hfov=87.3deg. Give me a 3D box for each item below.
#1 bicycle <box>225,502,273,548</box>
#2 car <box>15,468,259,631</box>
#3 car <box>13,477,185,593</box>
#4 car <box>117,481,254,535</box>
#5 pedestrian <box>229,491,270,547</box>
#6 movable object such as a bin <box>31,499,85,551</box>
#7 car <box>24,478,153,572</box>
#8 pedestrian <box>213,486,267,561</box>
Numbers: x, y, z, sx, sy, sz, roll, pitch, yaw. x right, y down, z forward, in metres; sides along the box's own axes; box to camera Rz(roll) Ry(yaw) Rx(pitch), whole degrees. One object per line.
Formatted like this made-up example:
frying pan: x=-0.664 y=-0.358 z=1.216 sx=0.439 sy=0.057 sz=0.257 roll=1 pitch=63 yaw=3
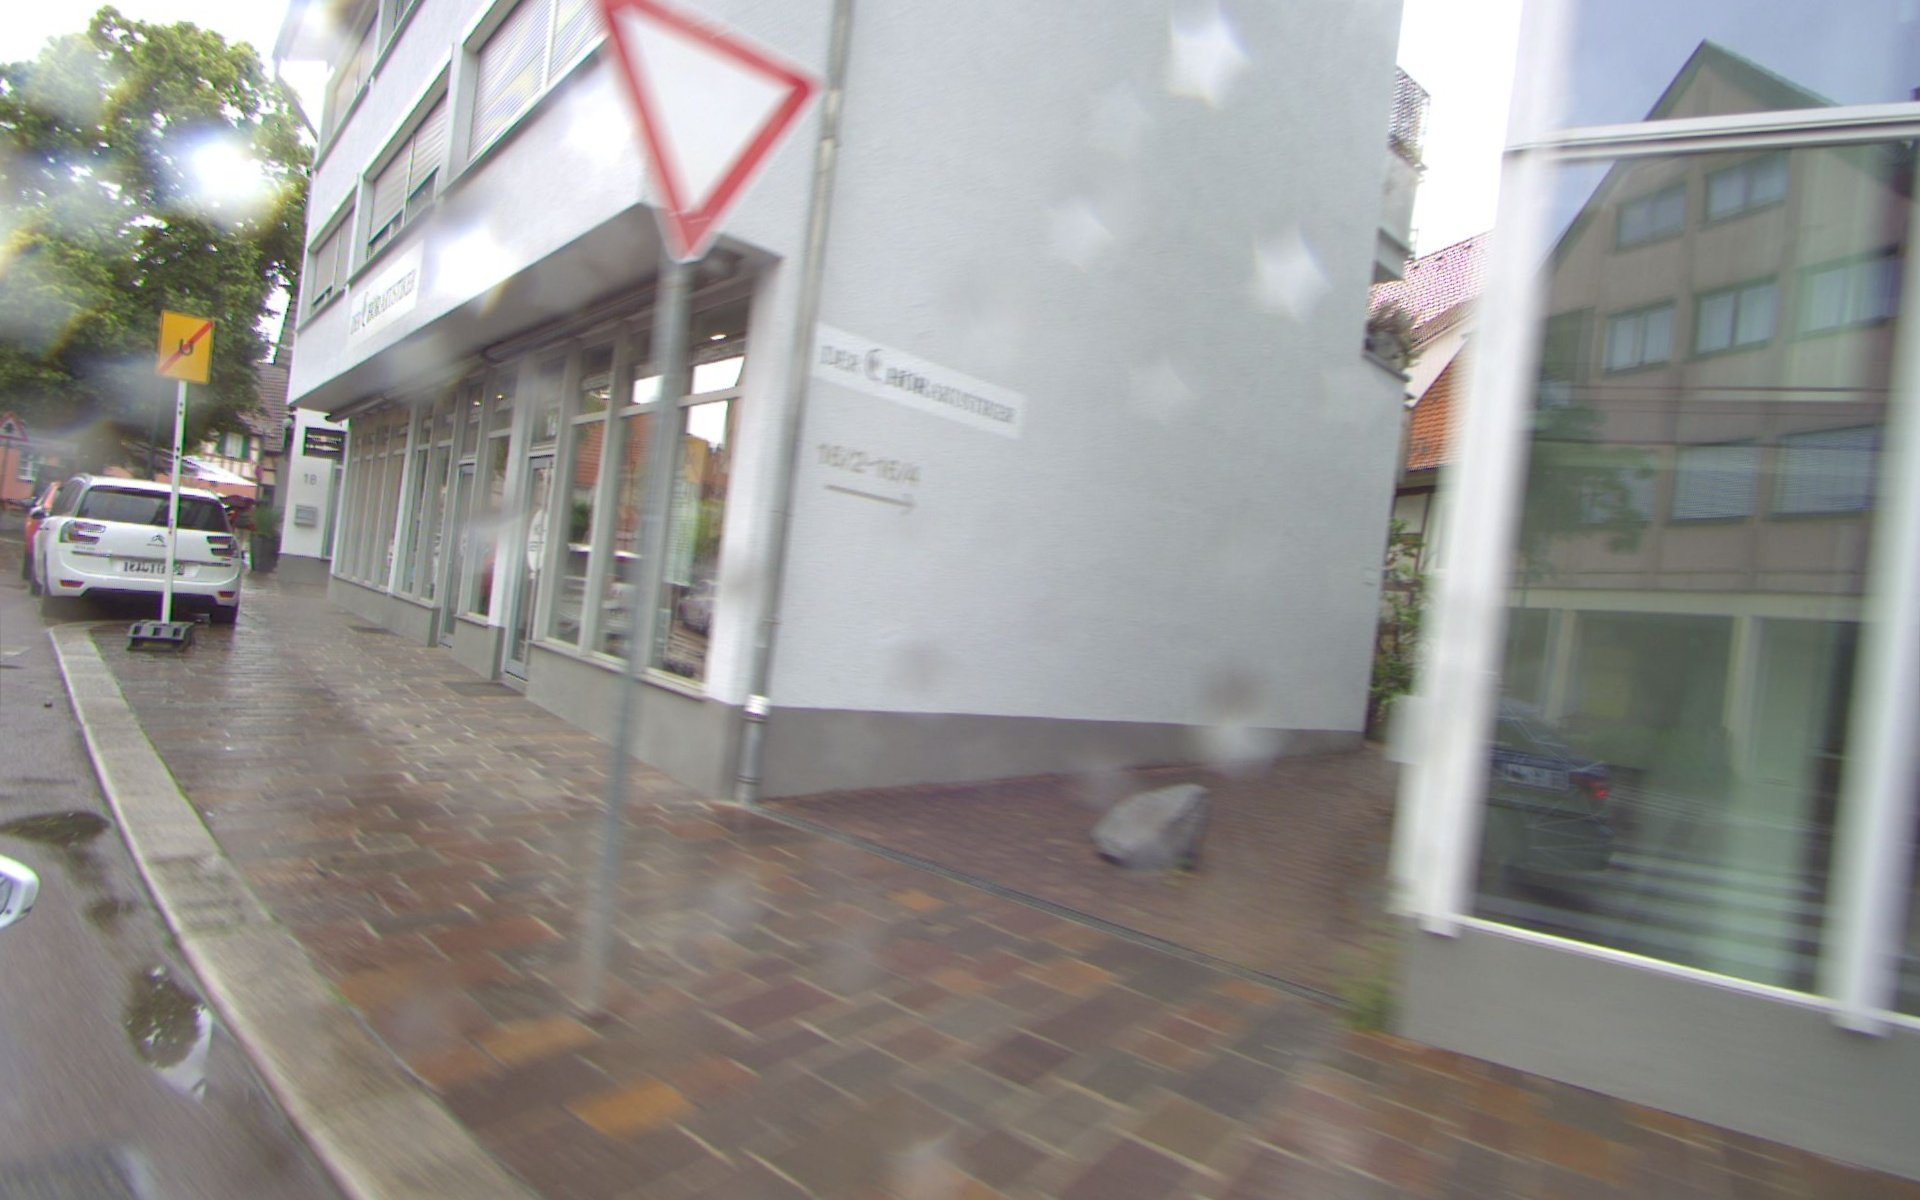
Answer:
bicycle: x=-23.548 y=-2.466 z=33.345 sx=0.917 sy=1.368 sz=2.200 roll=6 pitch=1 yaw=-28
car: x=-10.564 y=-0.644 z=12.790 sx=4.382 sy=1.618 sz=1.784 roll=5 pitch=-1 yaw=44
car: x=-14.265 y=-1.054 z=16.593 sx=1.784 sy=1.485 sz=3.900 roll=9 pitch=-3 yaw=-44
car: x=-35.287 y=-4.139 z=46.008 sx=1.962 sy=1.653 sz=4.617 roll=9 pitch=1 yaw=12
pedestrian: x=-23.523 y=-2.656 z=33.320 sx=0.902 sy=1.719 sz=0.855 roll=5 pitch=0 yaw=-29
movable object such as a bin: x=-20.910 y=-1.737 z=23.326 sx=0.595 sy=1.095 sz=0.726 roll=6 pitch=-2 yaw=37
car: x=-18.197 y=-1.581 z=20.949 sx=1.782 sy=1.574 sz=3.901 roll=7 pitch=0 yaw=-43
pedestrian: x=-18.144 y=-1.900 z=25.365 sx=0.879 sy=1.733 sz=0.882 roll=7 pitch=-1 yaw=-32
